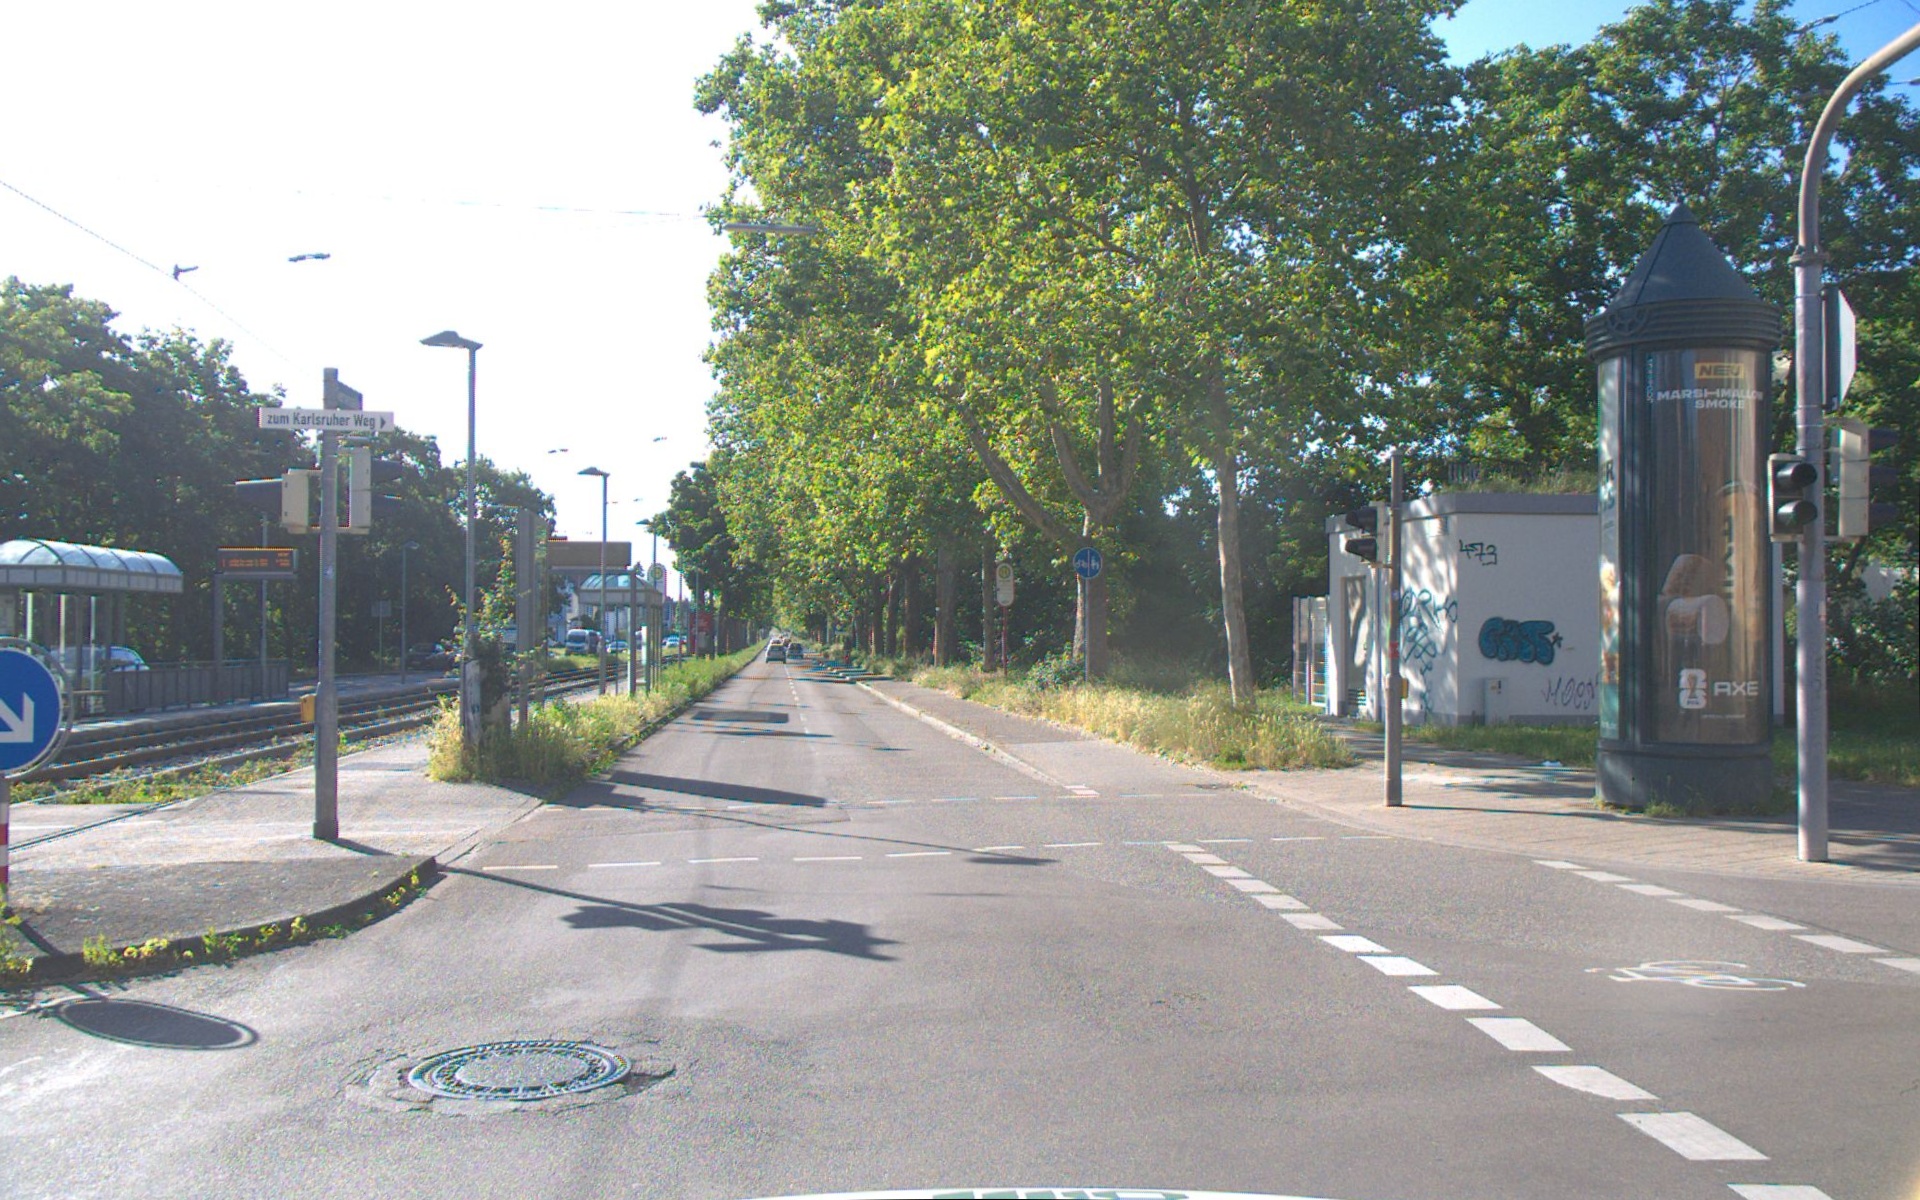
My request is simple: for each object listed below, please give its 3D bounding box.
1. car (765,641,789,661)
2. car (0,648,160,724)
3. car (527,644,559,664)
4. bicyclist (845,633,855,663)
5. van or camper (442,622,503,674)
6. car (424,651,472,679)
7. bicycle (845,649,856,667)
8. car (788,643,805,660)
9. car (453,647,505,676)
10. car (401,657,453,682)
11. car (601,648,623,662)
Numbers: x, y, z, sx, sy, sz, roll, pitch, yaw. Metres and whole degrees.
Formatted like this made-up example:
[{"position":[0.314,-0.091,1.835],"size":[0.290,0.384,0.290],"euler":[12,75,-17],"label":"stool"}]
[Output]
[{"position":[-14.342,4.009,129.947],"size":[1.831,1.512,3.550],"euler":[1,-2,-6],"label":"car"},{"position":[-18.256,1.735,34.277],"size":[1.770,1.492,3.993],"euler":[0,-2,-7],"label":"car"},{"position":[-34.510,4.424,136.945],"size":[1.883,1.604,3.995],"euler":[0,-1,-5],"label":"car"},{"position":[-6.571,2.881,98.939],"size":[0.524,1.801,0.711],"euler":[0,-2,-8],"label":"bicyclist"},{"position":[-30.788,3.021,104.630],"size":[2.540,3.161,6.778],"euler":[0,-1,-6],"label":"van or camper"},{"position":[-30.177,3.793,97.603],"size":[1.883,1.589,3.996],"euler":[0,-1,-4],"label":"car"},{"position":[-6.558,3.472,98.891],"size":[0.526,1.085,1.431],"euler":[0,-2,-8],"label":"bicycle"},{"position":[-16.478,5.164,166.502],"size":[1.717,1.632,3.744],"euler":[1,-1,-6],"label":"car"},{"position":[-24.972,3.187,85.987],"size":[1.956,1.495,4.368],"euler":[0,-2,-8],"label":"car"},{"position":[-29.573,3.856,91.855],"size":[1.883,1.288,3.996],"euler":[0,-1,-5],"label":"car"},{"position":[-38.298,6.071,182.100],"size":[1.883,1.463,3.995],"euler":[0,-1,-5],"label":"car"}]
